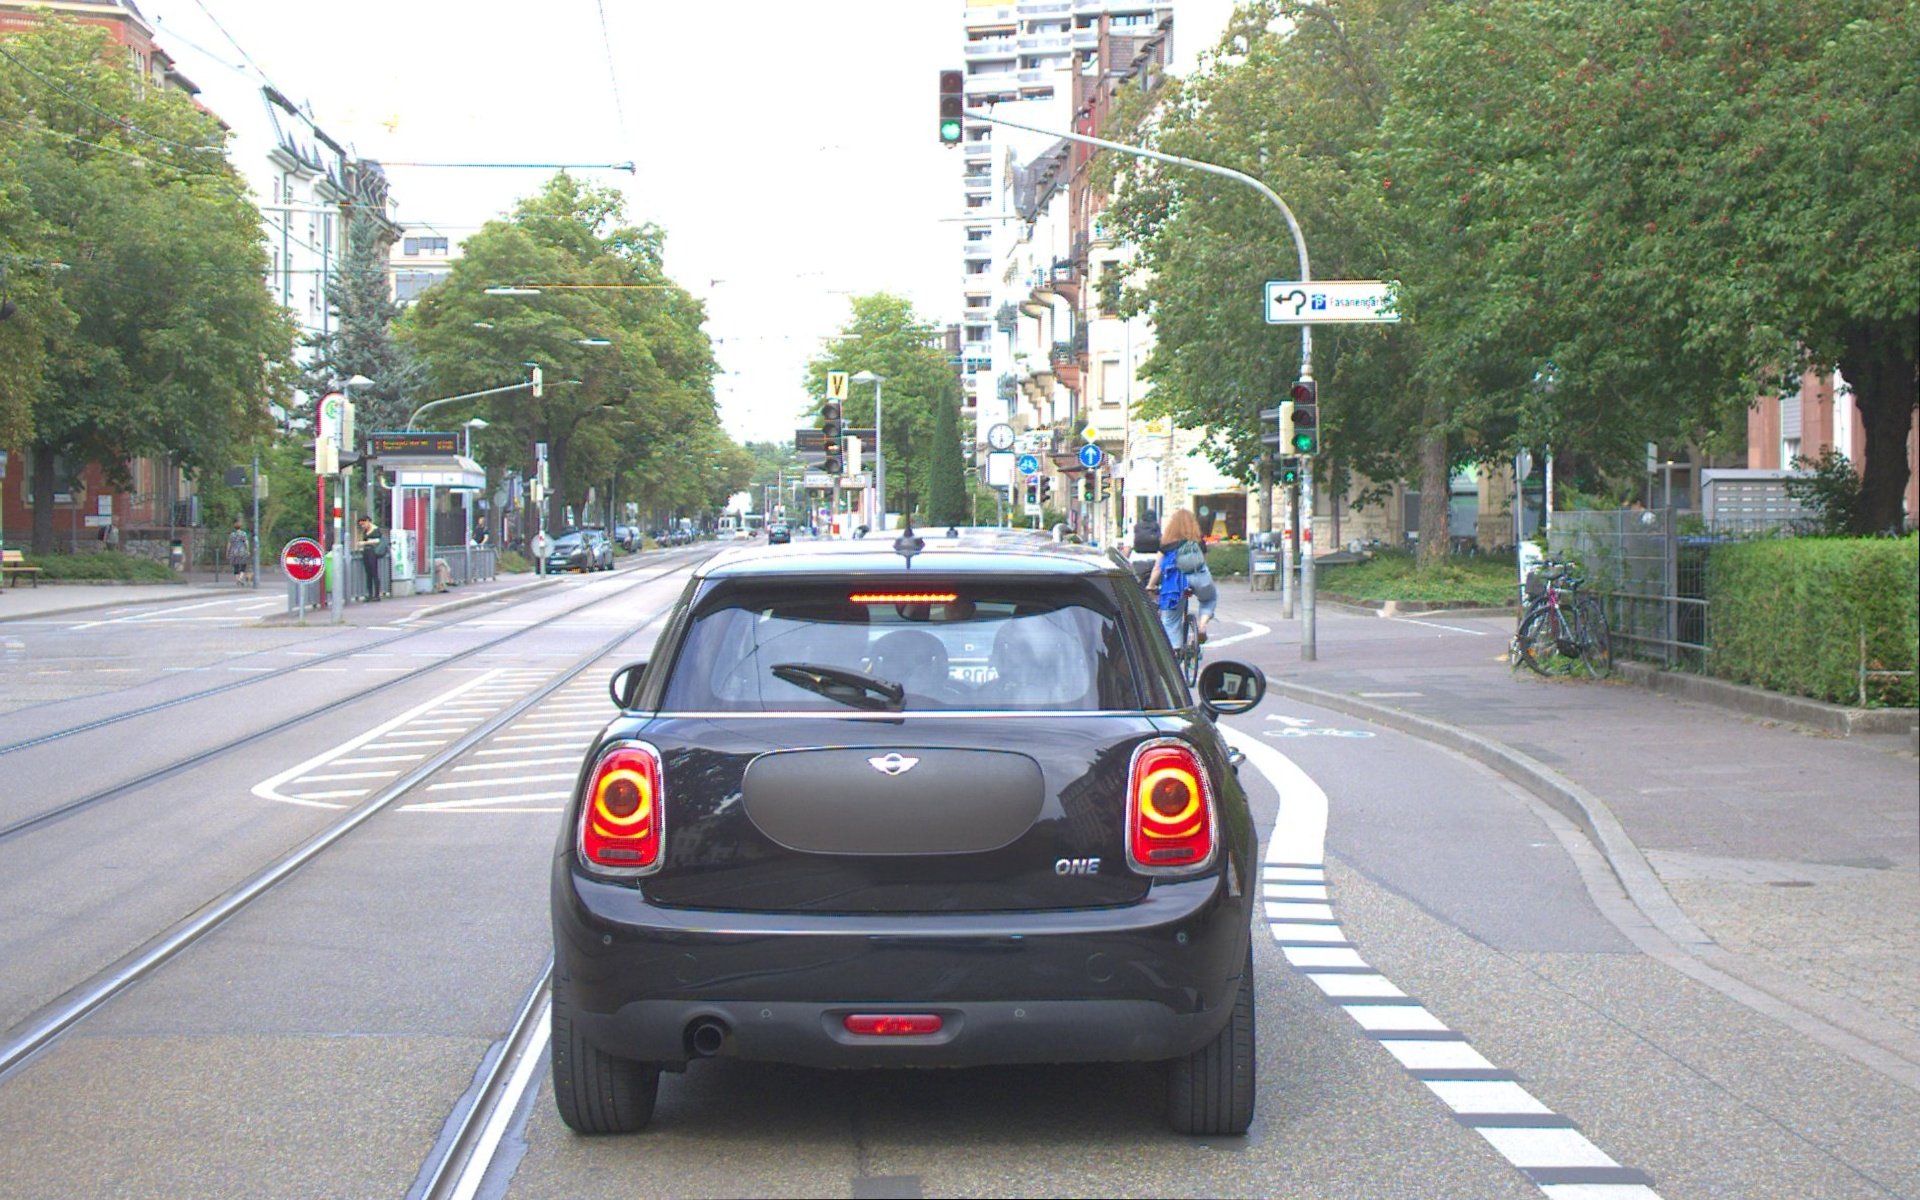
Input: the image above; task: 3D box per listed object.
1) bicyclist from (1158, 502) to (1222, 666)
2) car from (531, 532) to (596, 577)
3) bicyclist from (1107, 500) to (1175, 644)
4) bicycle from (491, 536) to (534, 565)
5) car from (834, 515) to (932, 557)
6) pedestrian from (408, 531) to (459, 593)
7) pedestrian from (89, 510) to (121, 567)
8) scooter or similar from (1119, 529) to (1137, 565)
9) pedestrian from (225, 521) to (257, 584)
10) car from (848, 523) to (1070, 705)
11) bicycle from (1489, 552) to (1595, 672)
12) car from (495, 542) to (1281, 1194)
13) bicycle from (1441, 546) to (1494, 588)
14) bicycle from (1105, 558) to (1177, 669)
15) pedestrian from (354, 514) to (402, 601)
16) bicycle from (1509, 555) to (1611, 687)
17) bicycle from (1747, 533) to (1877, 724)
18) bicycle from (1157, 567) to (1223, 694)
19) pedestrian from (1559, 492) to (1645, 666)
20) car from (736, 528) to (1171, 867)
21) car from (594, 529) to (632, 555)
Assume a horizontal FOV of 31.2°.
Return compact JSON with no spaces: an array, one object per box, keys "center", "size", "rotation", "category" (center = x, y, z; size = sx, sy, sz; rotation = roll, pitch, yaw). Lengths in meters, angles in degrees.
[{"center":[2.199,-0.167,32.954],"size":[0.594,1.545,1.013],"rotation":[0,1,3],"category":"bicyclist"},{"center":[-13.419,-1.559,116.573],"size":[1.751,1.436,4.000],"rotation":[2,1,-1],"category":"car"},{"center":[1.993,-0.320,37.875],"size":[0.684,1.558,0.998],"rotation":[0,1,0],"category":"bicyclist"},{"center":[-17.596,-1.952,135.187],"size":[1.667,1.115,0.573],"rotation":[-2,2,-42],"category":"bicycle"},{"center":[-4.189,-3.497,187.412],"size":[5.025,2.265,2.396],"rotation":[-1,2,-43],"category":"car"},{"center":[-11.077,-0.806,72.359],"size":[1.058,1.289,0.986],"rotation":[0,1,-8],"category":"pedestrian"},{"center":[-25.251,-1.821,101.516],"size":[0.832,1.697,0.733],"rotation":[0,1,-8],"category":"pedestrian"},{"center":[5.681,-1.794,116.314],"size":[0.508,1.184,1.262],"rotation":[0,1,-2],"category":"scooter or similar"},{"center":[-19.762,-1.313,94.505],"size":[0.694,1.713,0.758],"rotation":[0,1,-1],"category":"pedestrian"},{"center":[-0.012,0.061,29.430],"size":[1.751,1.436,4.480],"rotation":[0,1,0],"category":"car"},{"center":[5.587,0.100,33.053],"size":[0.671,1.102,1.672],"rotation":[0,1,-2],"category":"bicycle"},{"center":[-0.126,0.565,9.673],"size":[1.752,1.436,4.000],"rotation":[0,1,1],"category":"car"},{"center":[13.913,-0.919,94.179],"size":[0.532,1.124,1.889],"rotation":[1,1,40],"category":"bicycle"},{"center":[1.992,0.137,37.941],"size":[0.684,1.166,1.697],"rotation":[0,1,0],"category":"bicycle"},{"center":[-10.883,-0.802,64.317],"size":[0.851,1.615,0.843],"rotation":[0,1,-8],"category":"pedestrian"},{"center":[5.281,0.169,30.319],"size":[0.508,1.085,1.550],"rotation":[-3,1,-2],"category":"bicycle"},{"center":[5.935,0.178,24.009],"size":[0.516,1.277,1.550],"rotation":[0,1,0],"category":"bicycle"},{"center":[2.202,0.278,32.974],"size":[0.598,1.166,1.696],"rotation":[0,1,3],"category":"bicycle"},{"center":[6.562,-0.224,35.159],"size":[0.730,1.748,0.950],"rotation":[0,1,2],"category":"pedestrian"},{"center":[-0.012,0.393,17.275],"size":[1.927,1.504,4.000],"rotation":[0,1,1],"category":"car"},{"center":[-20.632,-3.450,204.248],"size":[1.993,1.546,4.001],"rotation":[0,1,-2],"category":"car"}]
